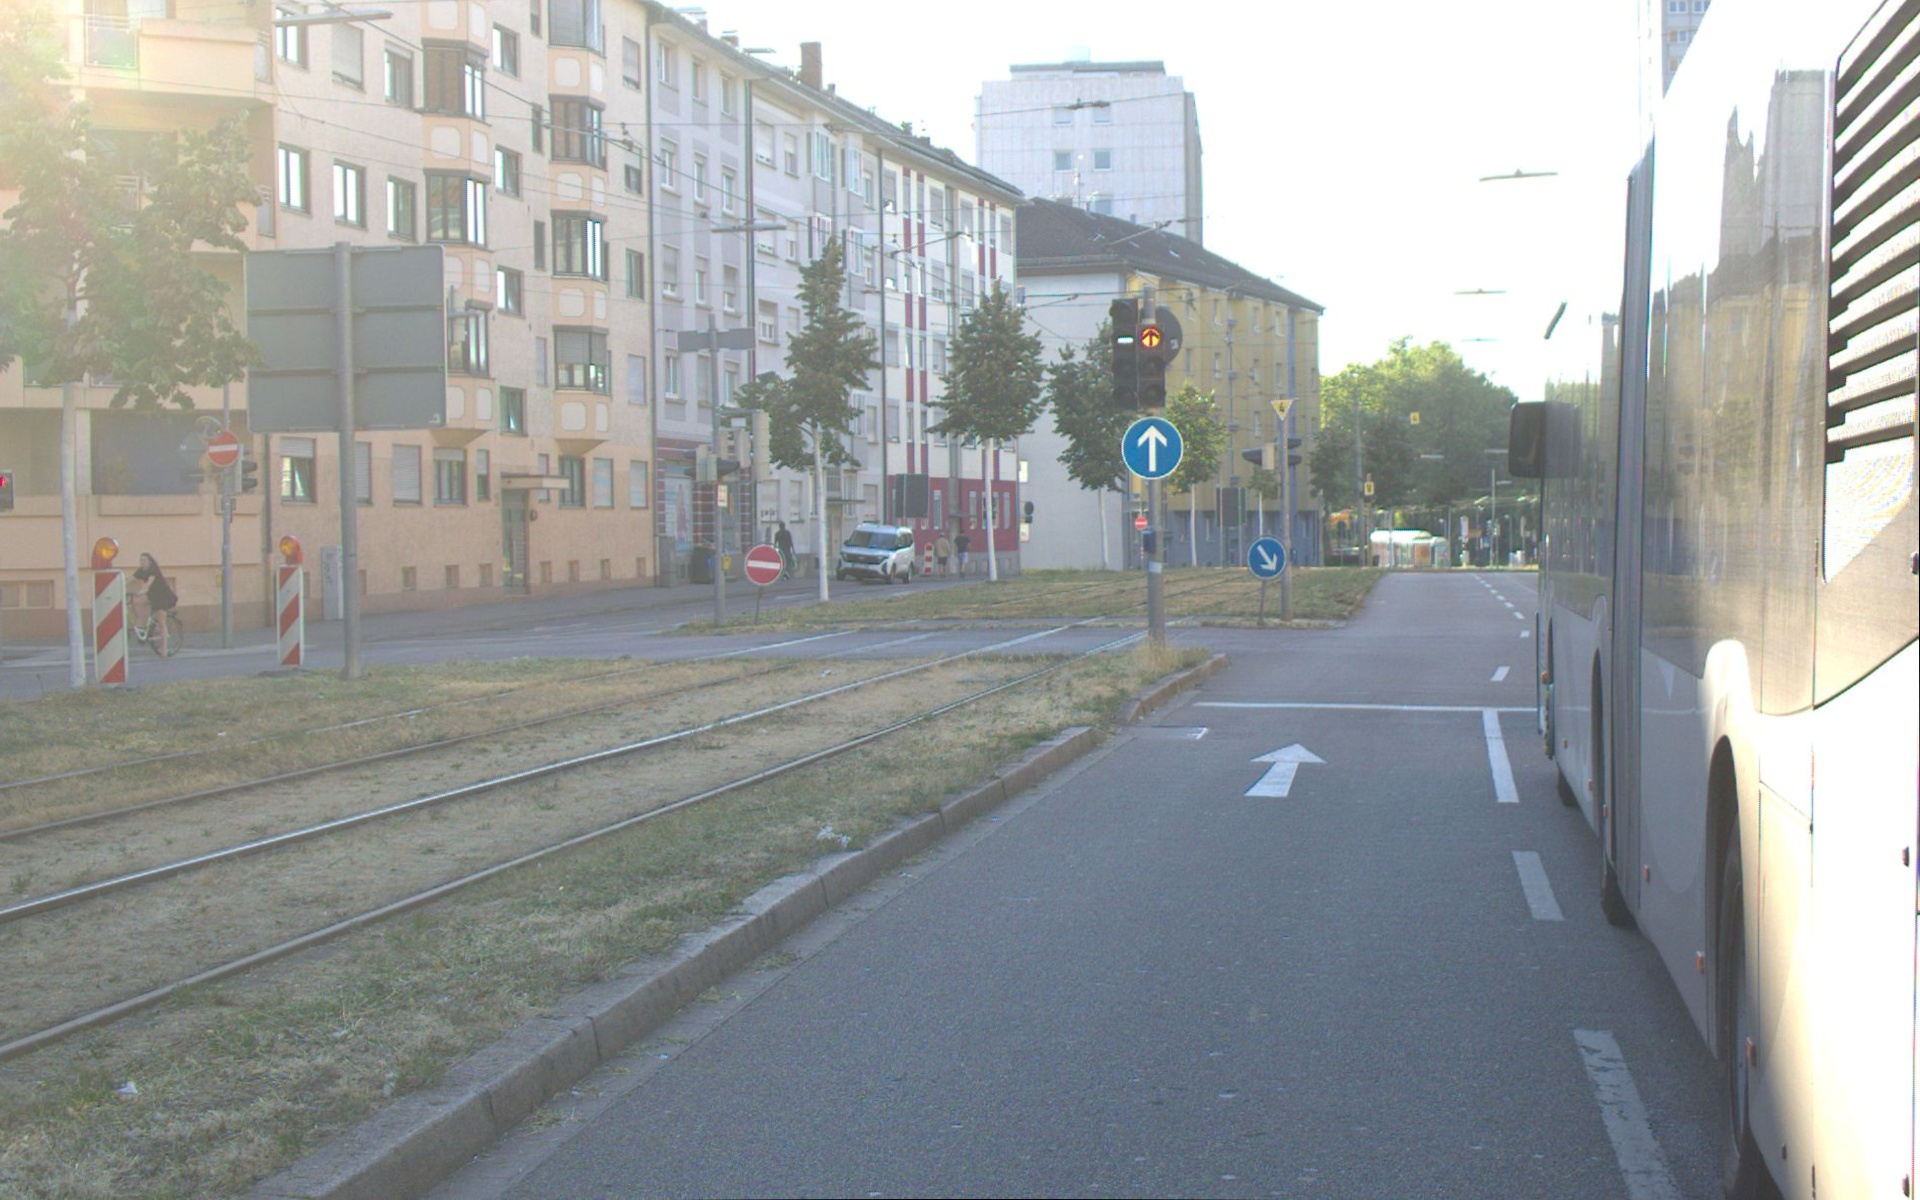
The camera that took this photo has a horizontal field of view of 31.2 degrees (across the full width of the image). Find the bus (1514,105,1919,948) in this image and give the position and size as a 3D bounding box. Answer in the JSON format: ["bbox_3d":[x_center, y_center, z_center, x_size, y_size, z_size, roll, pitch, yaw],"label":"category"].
[{"bbox_3d":[4.229,-0.357,16.928,2.739,3.045,9.128,1,1,8],"label":"bus"}]

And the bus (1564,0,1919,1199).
[{"bbox_3d":[2.971,-0.169,8.001,2.739,3.045,8.851,1,1,8],"label":"bus"}]

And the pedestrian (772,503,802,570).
[{"bbox_3d":[-5.260,-1.931,104.455,0.786,2.007,0.890,-1,1,5],"label":"pedestrian"}]

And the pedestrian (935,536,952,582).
[{"bbox_3d":[-0.595,-1.473,124.513,0.496,1.652,0.408,-1,1,9],"label":"pedestrian"}]

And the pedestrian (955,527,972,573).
[{"bbox_3d":[0.127,-1.826,124.772,0.496,1.652,0.408,-1,1,9],"label":"pedestrian"}]

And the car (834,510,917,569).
[{"bbox_3d":[-2.652,-1.904,108.897,1.812,1.791,4.243,1,1,10],"label":"car"}]

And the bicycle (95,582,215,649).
[{"bbox_3d":[-12.501,0.235,53.421,0.529,0.980,1.879,0,1,39],"label":"bicycle"}]

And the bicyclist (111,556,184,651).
[{"bbox_3d":[-12.589,0.045,53.280,0.529,1.442,0.963,0,1,39],"label":"bicyclist"}]
